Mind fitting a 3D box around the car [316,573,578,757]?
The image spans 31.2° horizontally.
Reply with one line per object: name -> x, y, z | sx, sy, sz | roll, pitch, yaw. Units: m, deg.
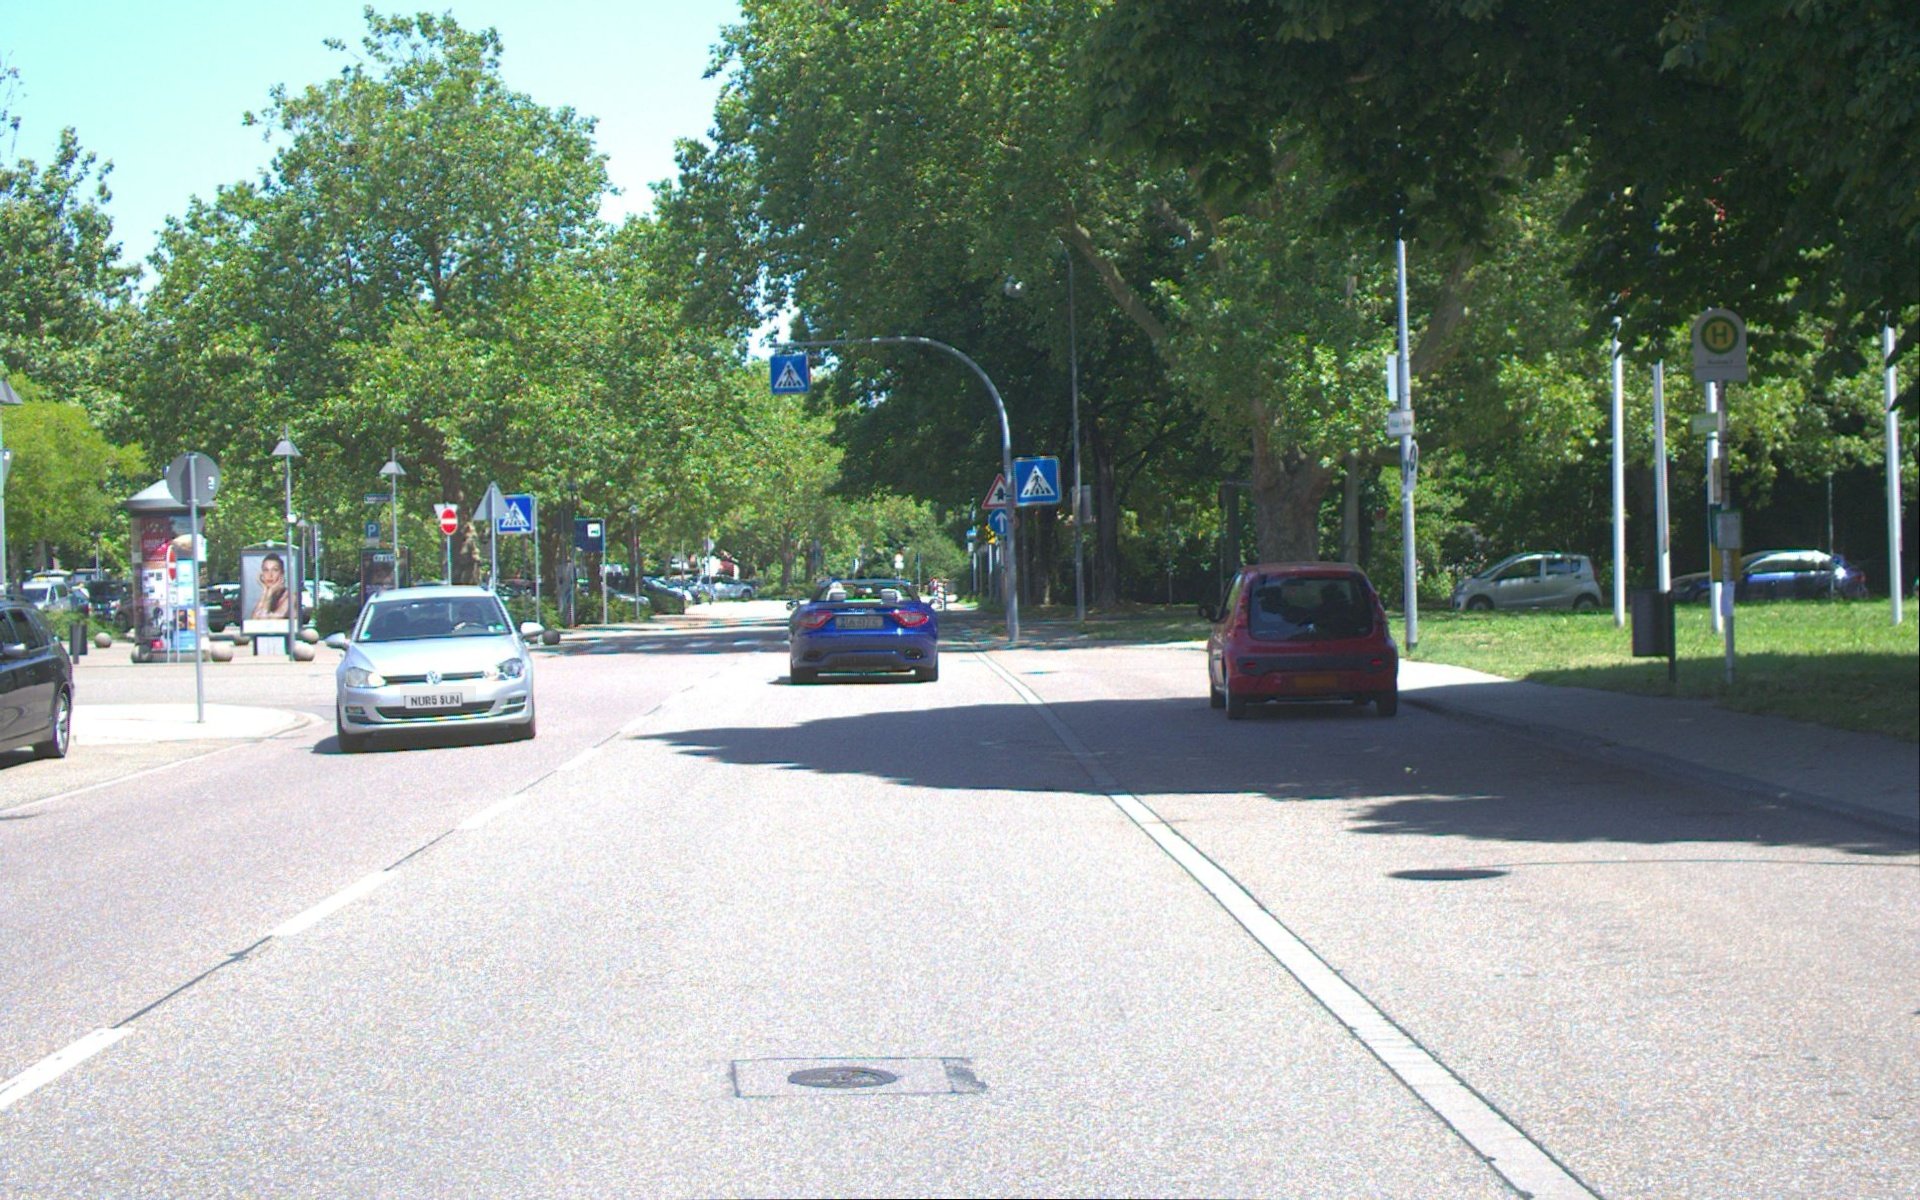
car -> -4.760, 0.561, 32.432 | 1.815, 1.439, 4.159 | -4, 1, -1

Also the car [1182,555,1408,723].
car -> 3.169, 0.341, 33.126 | 1.718, 1.473, 3.706 | -2, 0, -1

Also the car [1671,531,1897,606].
car -> 19.287, -0.735, 80.623 | 4.824, 1.602, 2.000 | -2, 1, 3

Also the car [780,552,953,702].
car -> -1.194, 0.324, 44.711 | 2.125, 1.842, 4.048 | -1, 0, -1

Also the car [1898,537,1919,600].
car -> 24.308, -0.750, 80.945 | 3.881, 1.449, 2.000 | -1, -1, 1

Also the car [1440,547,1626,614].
car -> 13.487, -0.471, 81.087 | 4.105, 1.461, 2.000 | -1, 1, 3

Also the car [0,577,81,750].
car -> -9.074, 0.562, 30.015 | 1.718, 1.473, 4.786 | -2, 0, -2
